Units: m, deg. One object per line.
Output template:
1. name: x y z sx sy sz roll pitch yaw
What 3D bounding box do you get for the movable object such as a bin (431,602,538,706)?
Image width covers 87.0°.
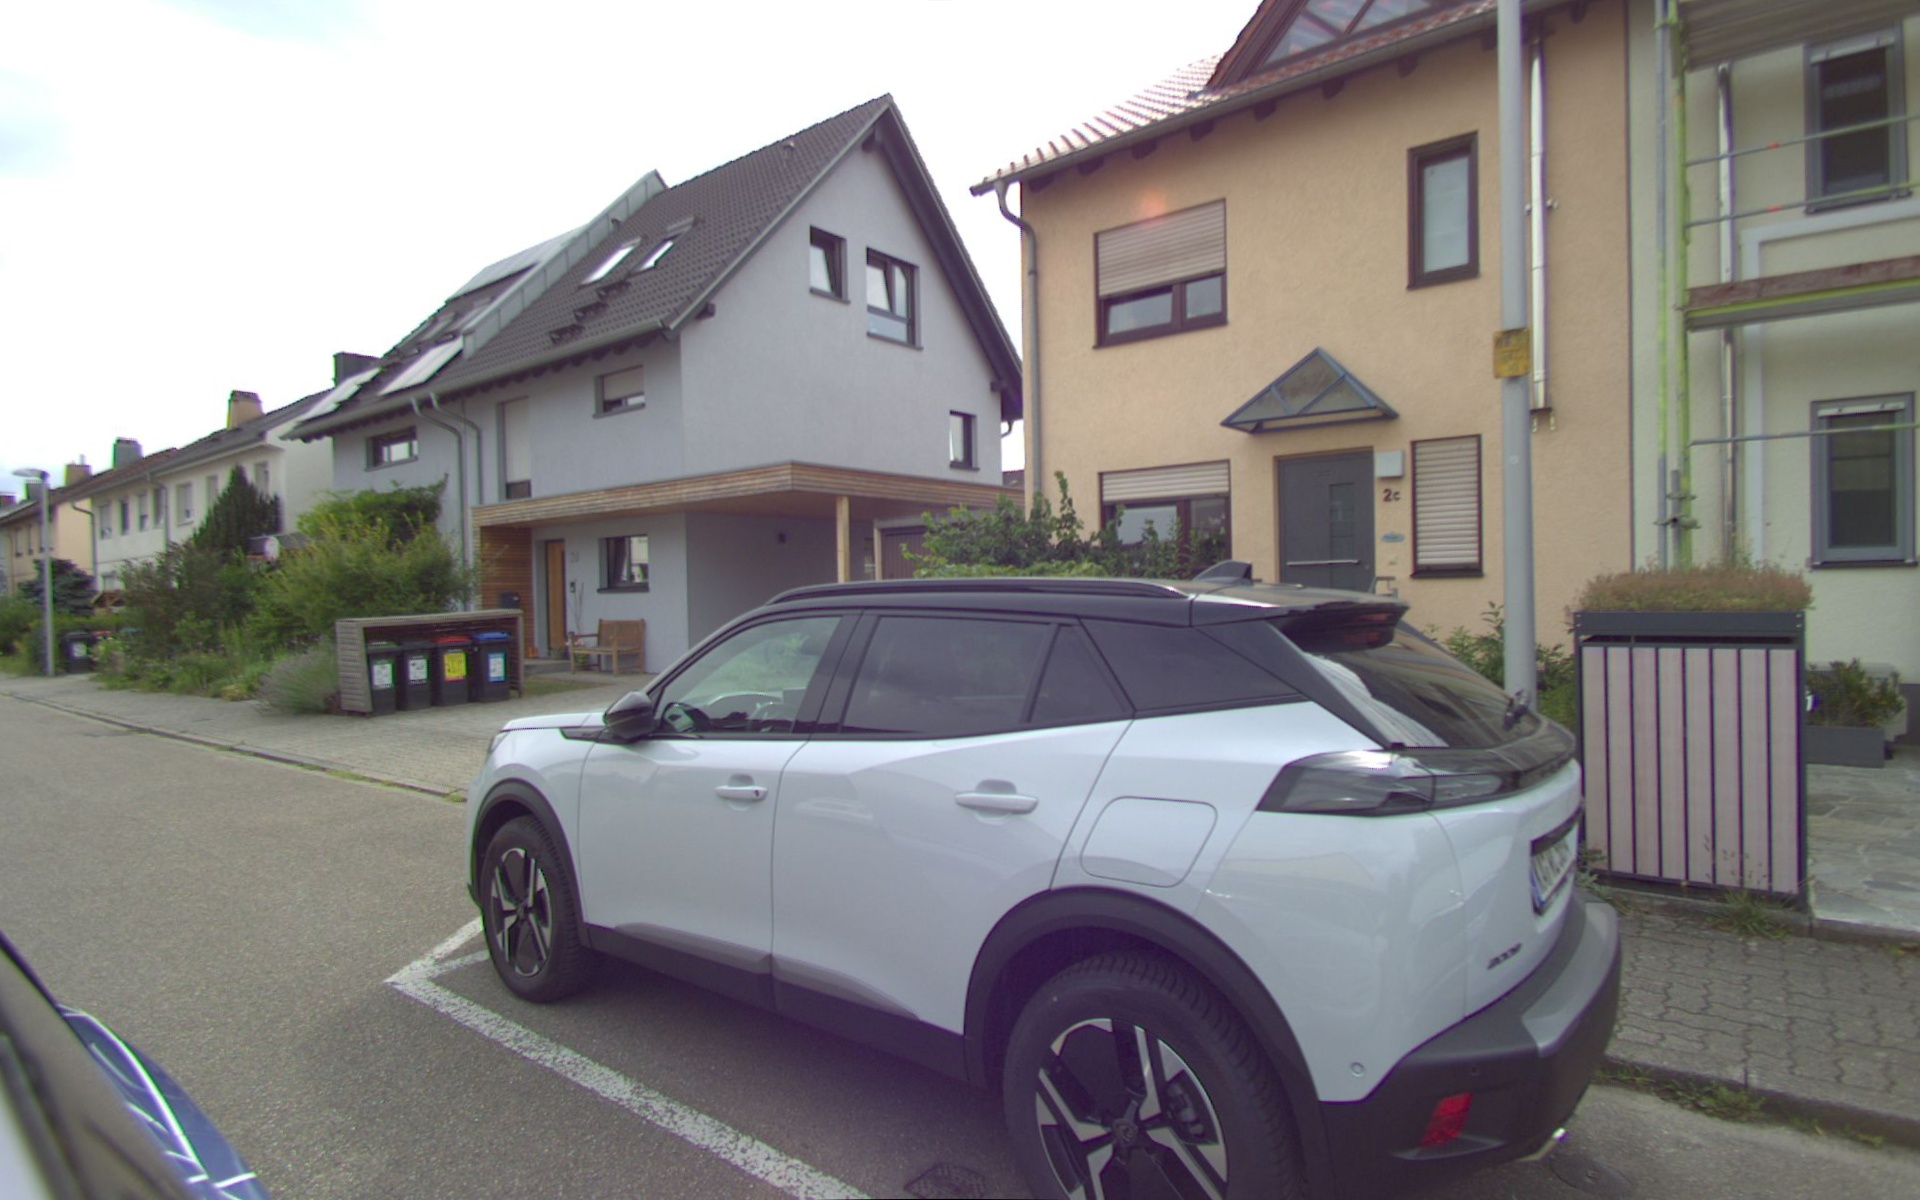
1. movable object such as a bin: -6.563 0.717 13.980 0.999 1.322 0.941 -1 2 37

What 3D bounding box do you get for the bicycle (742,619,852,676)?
1. bicycle: -2.668 0.765 16.714 1.907 0.855 0.357 0 -1 -43

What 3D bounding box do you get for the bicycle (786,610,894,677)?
1. bicycle: -1.885 0.672 16.157 0.357 0.960 1.909 -2 0 43

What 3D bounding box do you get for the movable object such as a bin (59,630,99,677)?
1. movable object such as a bin: -20.167 1.223 23.162 0.664 1.035 0.596 -1 -1 39

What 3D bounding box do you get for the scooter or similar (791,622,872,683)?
1. scooter or similar: -1.889 0.760 14.967 0.362 0.803 1.290 -2 0 38

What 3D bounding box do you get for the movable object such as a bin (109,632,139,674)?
1. movable object such as a bin: -19.608 1.229 23.726 0.466 0.963 0.462 -1 -1 39

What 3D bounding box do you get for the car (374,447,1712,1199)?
1. car: -0.166 0.596 3.723 4.629 1.568 1.915 -2 -1 39
